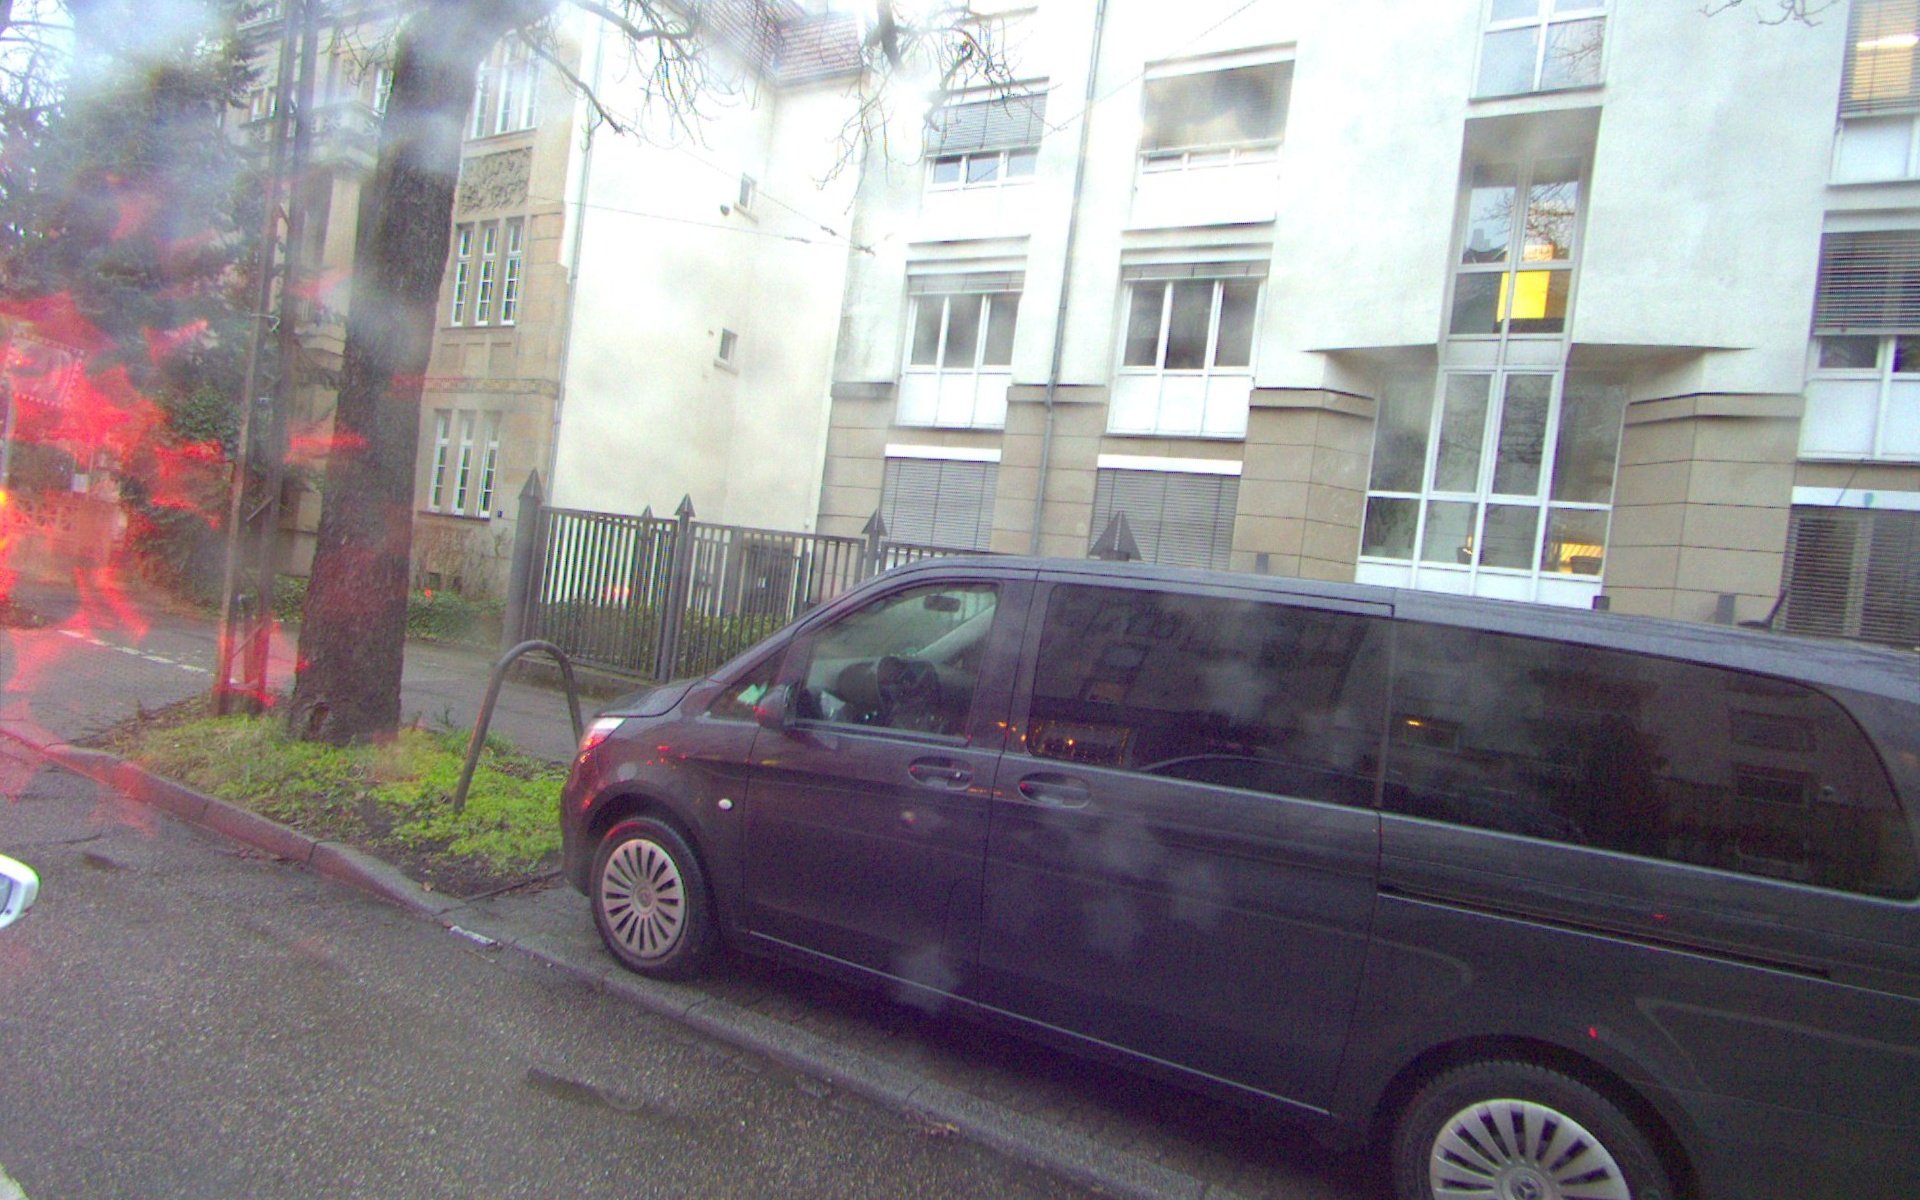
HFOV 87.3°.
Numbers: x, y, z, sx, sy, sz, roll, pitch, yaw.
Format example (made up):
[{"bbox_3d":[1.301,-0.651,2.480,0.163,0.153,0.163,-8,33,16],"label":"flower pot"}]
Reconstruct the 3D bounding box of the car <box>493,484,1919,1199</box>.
[{"bbox_3d":[0.722,0.787,4.030,4.877,1.899,2.034,7,0,28],"label":"car"}]
